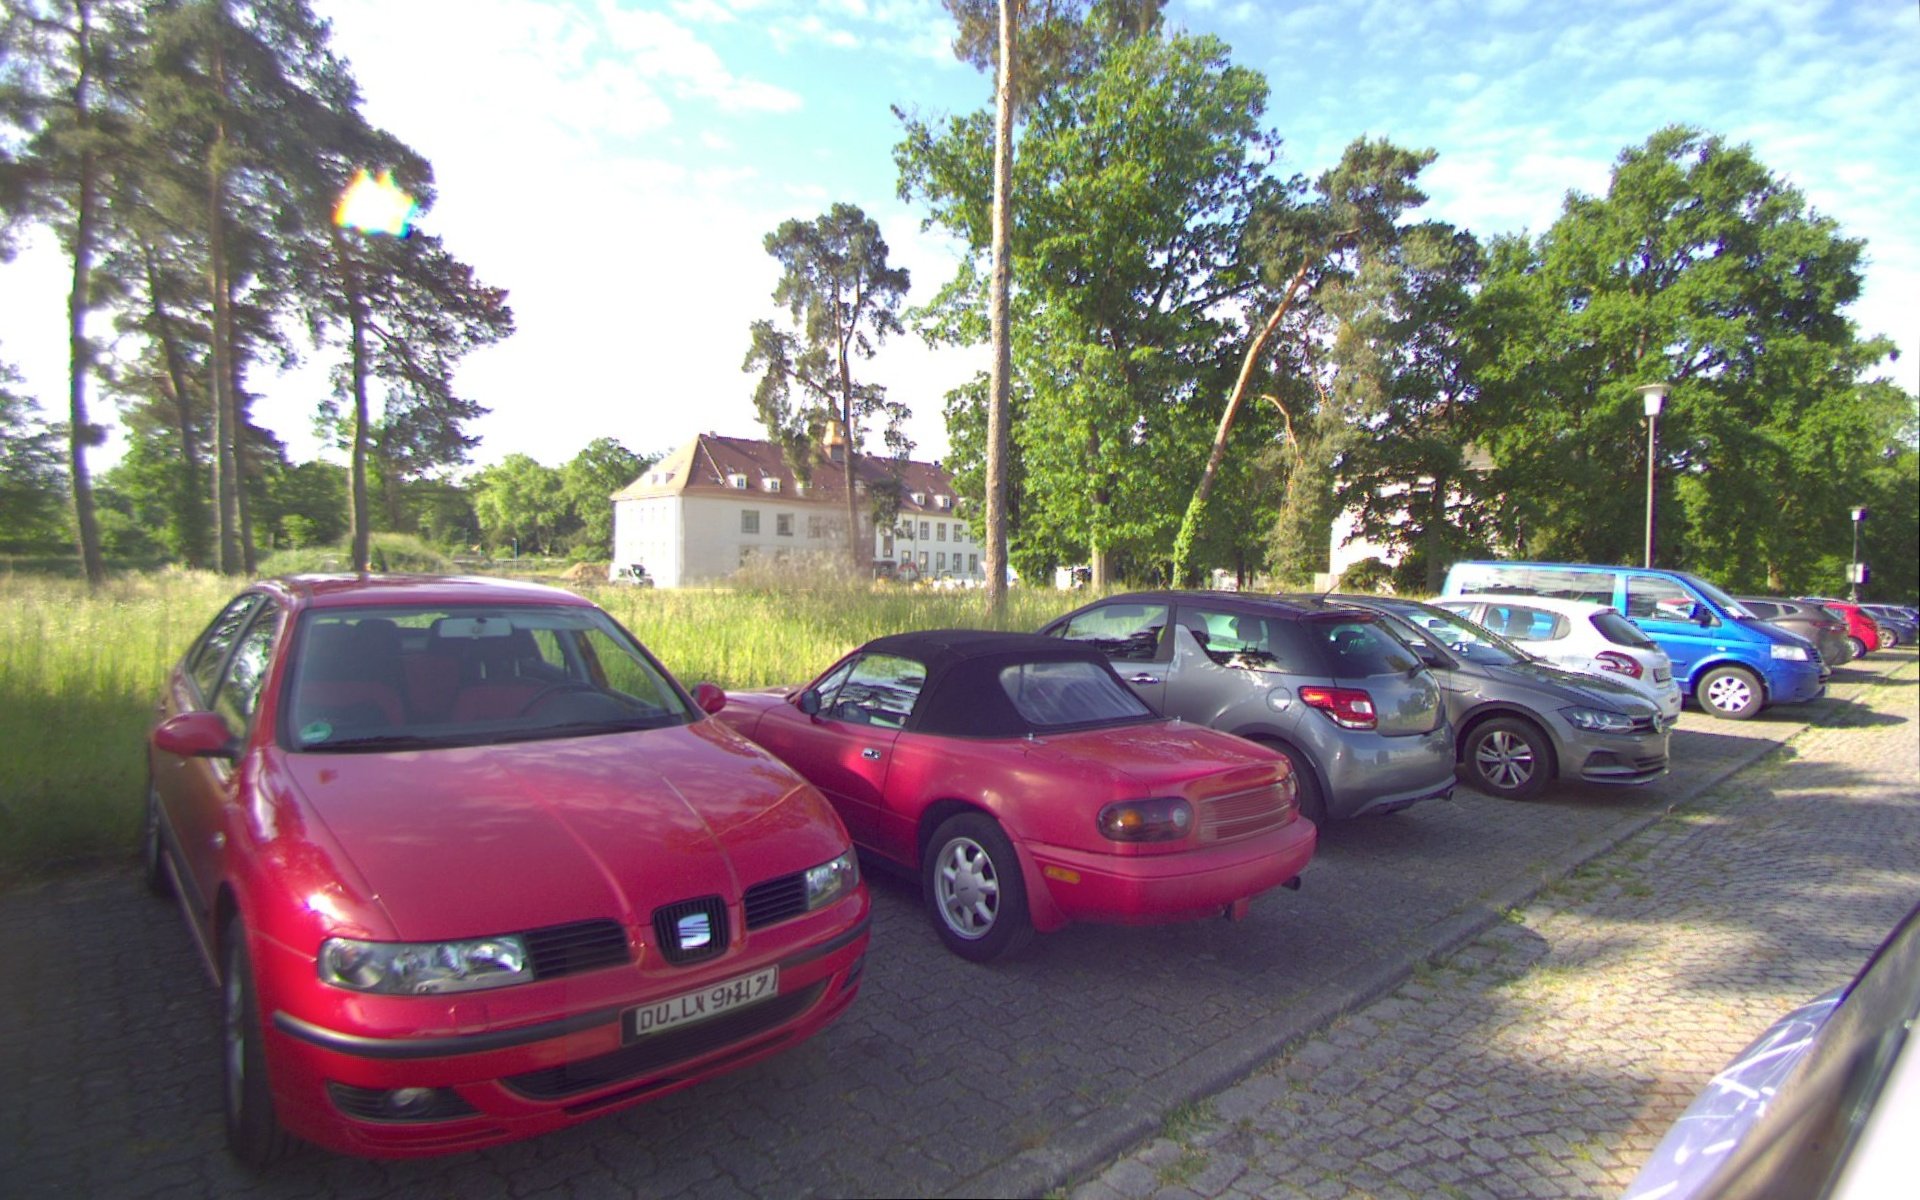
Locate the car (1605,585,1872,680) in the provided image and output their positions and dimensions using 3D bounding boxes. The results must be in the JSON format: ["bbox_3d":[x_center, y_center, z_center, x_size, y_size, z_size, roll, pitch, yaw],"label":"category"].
[{"bbox_3d":[15.888,0.583,20.800,1.757,1.631,4.111,0,2,-44],"label":"car"}]

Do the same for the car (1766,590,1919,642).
[{"bbox_3d":[30.505,0.510,34.721,1.624,1.618,4.267,0,1,-43],"label":"car"}]

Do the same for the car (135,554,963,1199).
[{"bbox_3d":[-1.956,0.609,3.910,1.628,1.466,3.984,0,2,-43],"label":"car"}]

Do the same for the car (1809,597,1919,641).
[{"bbox_3d":[34.209,0.681,37.667,1.717,1.484,3.806,0,1,-42],"label":"car"}]

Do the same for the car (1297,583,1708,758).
[{"bbox_3d":[5.802,0.622,11.133,1.606,1.510,3.650,0,2,-42],"label":"car"}]

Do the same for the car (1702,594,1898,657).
[{"bbox_3d":[23.052,0.636,27.880,1.514,1.514,3.991,0,1,-43],"label":"car"}]

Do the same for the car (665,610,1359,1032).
[{"bbox_3d":[0.000,0.749,5.143,1.510,1.258,3.465,0,1,-42],"label":"car"}]

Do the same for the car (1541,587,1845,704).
[{"bbox_3d":[11.687,0.633,16.302,1.584,1.484,3.723,0,3,-45],"label":"car"}]

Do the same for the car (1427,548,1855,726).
[{"bbox_3d":[9.656,0.360,14.699,1.966,2.038,4.762,0,3,-42],"label":"car"}]

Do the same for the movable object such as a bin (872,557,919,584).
[{"bbox_3d":[-7.408,-3.366,116.138,4.978,2.937,2.180,0,1,-37],"label":"movable object such as a bin"}]

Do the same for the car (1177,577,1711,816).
[{"bbox_3d":[3.980,0.620,8.807,1.727,1.468,3.788,0,3,-41],"label":"car"}]

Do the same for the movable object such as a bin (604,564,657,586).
[{"bbox_3d":[-32.395,-2.436,99.296,5.707,2.038,2.095,3,2,38],"label":"movable object such as a bin"}]

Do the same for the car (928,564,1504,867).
[{"bbox_3d":[1.610,0.568,7.264,1.638,1.472,3.669,0,3,-43],"label":"car"}]
